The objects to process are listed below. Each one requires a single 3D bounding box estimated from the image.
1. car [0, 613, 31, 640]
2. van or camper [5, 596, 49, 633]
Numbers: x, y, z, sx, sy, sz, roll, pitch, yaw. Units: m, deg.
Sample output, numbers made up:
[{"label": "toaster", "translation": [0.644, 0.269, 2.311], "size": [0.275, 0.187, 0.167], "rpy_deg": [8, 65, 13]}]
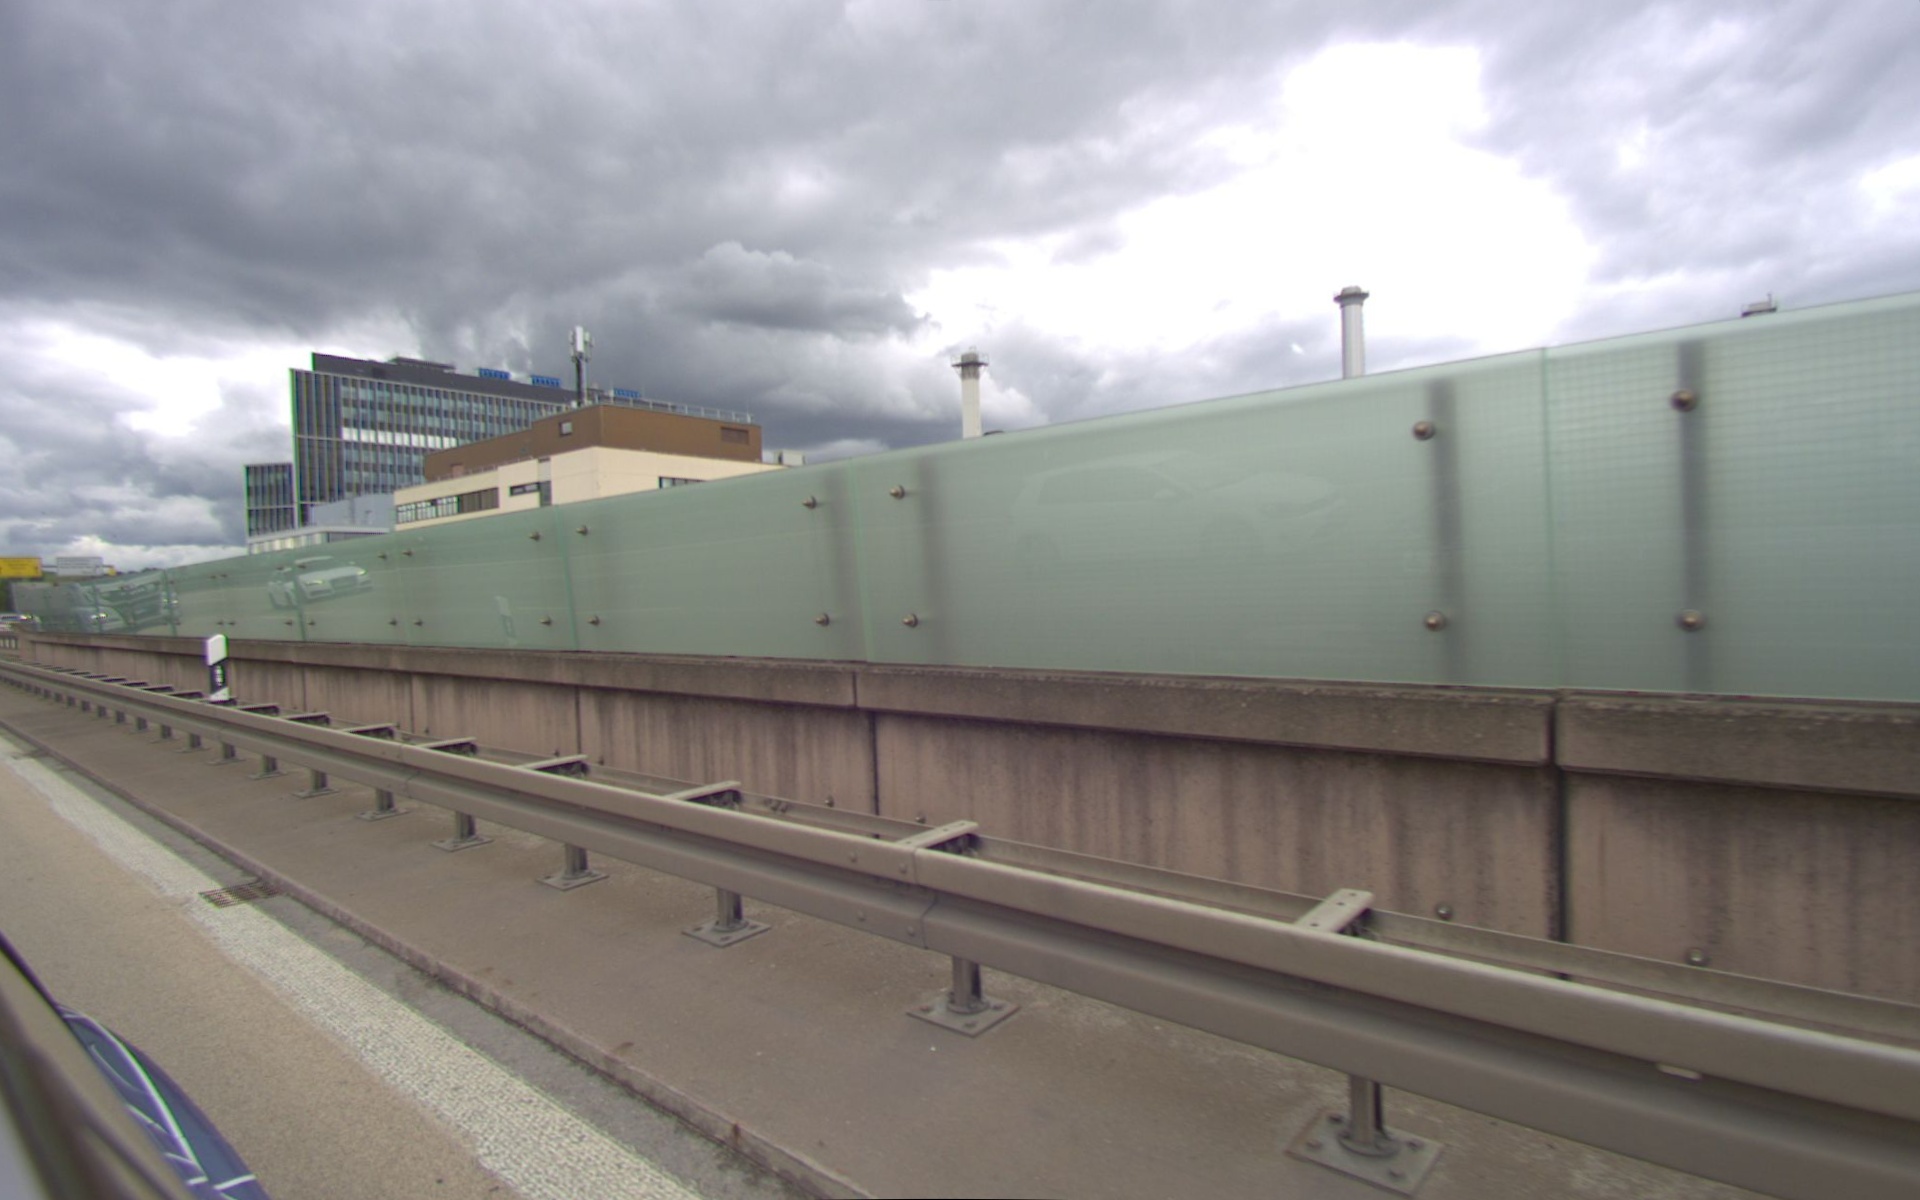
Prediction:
[{"label": "car", "translation": [-62.925, 1.756, 66.810], "size": [4.404, 1.686, 1.826], "rpy_deg": [-2, -1, 40]}, {"label": "van or camper", "translation": [-89.995, 1.393, 97.540], "size": [6.951, 3.413, 2.380], "rpy_deg": [-1, -1, 41]}]
